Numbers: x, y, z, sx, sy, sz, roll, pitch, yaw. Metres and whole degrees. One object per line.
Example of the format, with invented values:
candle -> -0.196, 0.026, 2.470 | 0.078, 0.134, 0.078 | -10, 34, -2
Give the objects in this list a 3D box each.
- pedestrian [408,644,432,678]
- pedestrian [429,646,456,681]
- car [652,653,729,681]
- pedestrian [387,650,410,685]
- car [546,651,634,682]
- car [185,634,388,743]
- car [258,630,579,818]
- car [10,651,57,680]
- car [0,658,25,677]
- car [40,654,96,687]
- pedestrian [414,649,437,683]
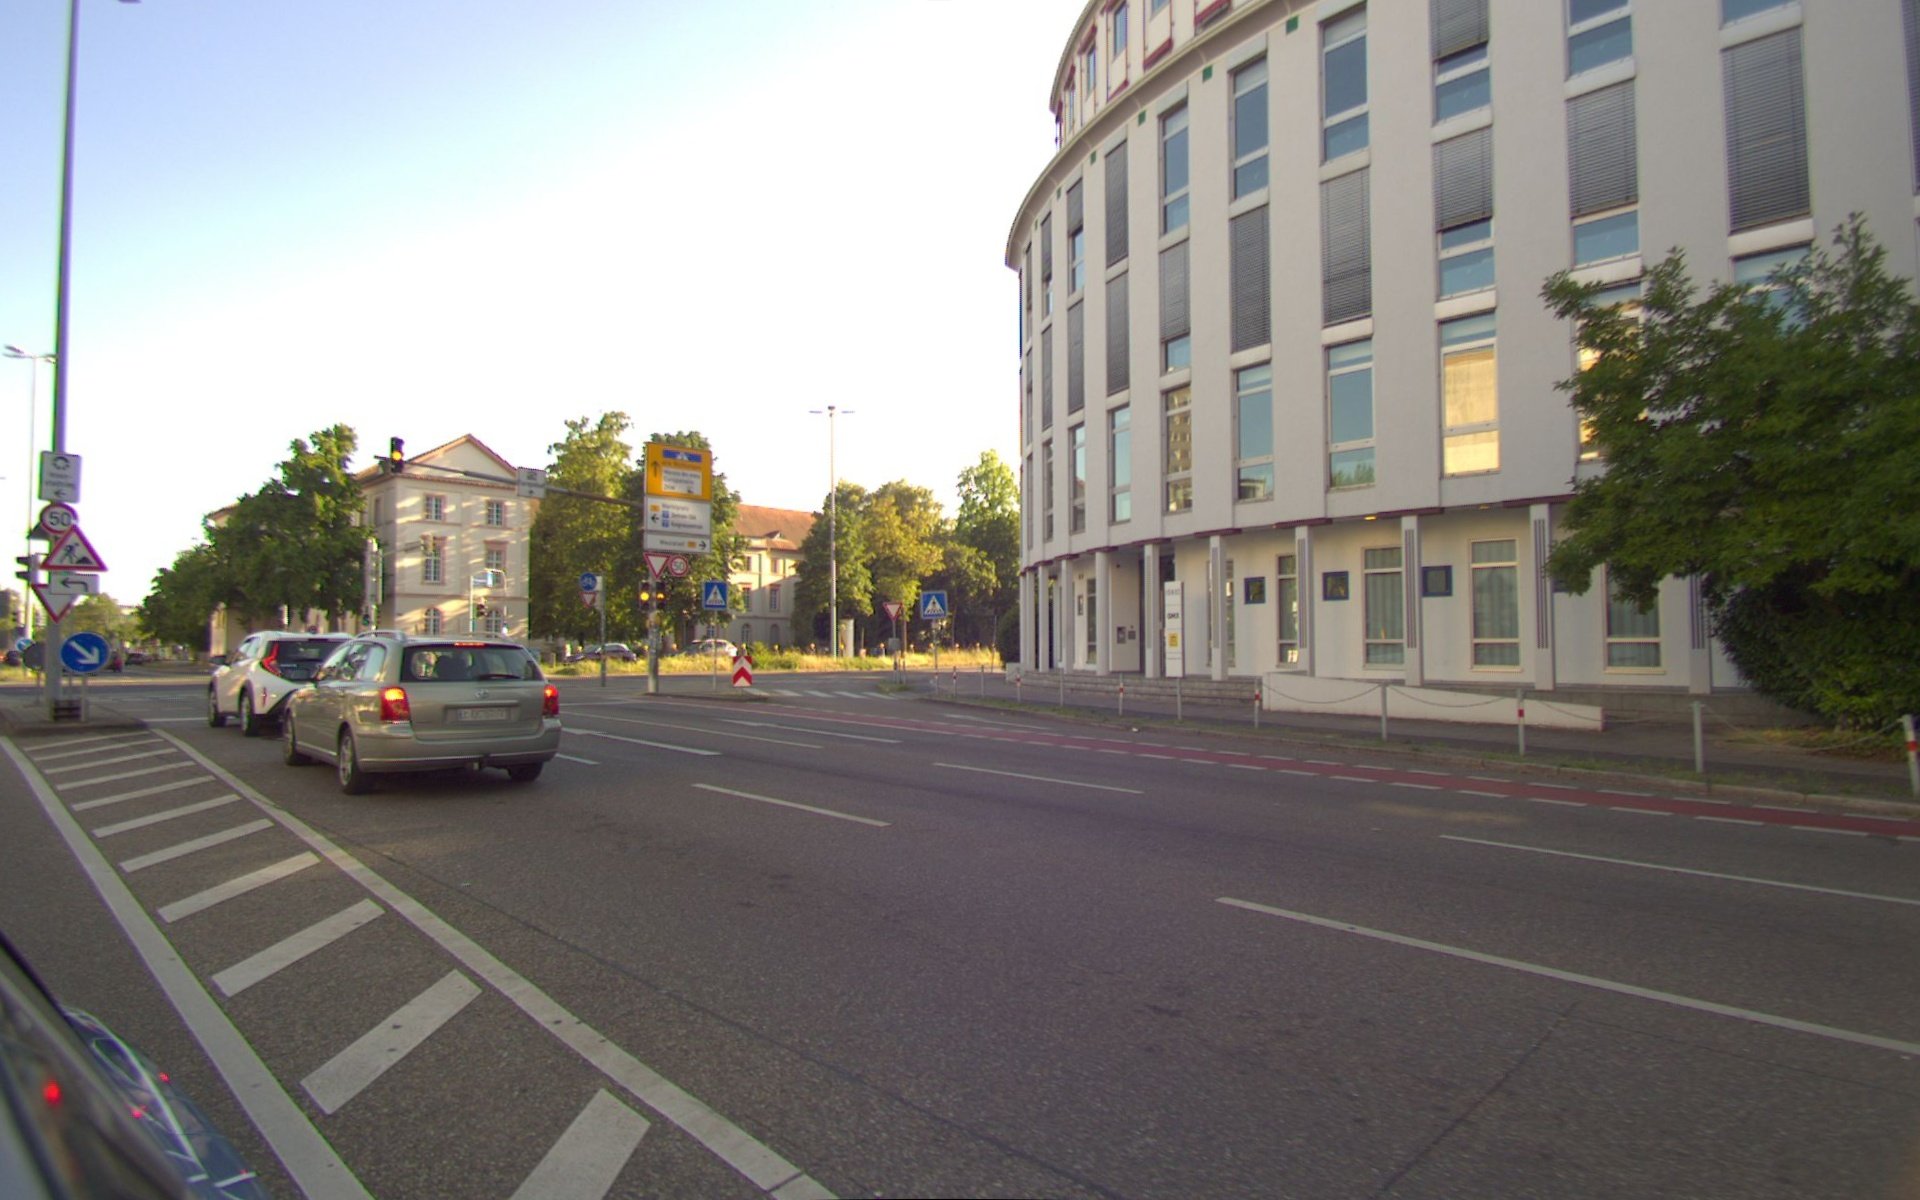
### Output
pedestrian -> -28.093, 3.185, 52.646 | 1.082, 1.721, 0.670 | -3, -4, 36
pedestrian -> -27.380, 3.359, 53.510 | 1.167, 1.863, 0.811 | -3, -4, 36
car -> -14.774, 3.662, 55.554 | 1.998, 1.457, 3.598 | -3, -4, 40
pedestrian -> -26.965, 3.255, 48.637 | 0.888, 1.663, 0.614 | -3, -4, 36
car -> -18.422, 3.300, 50.501 | 1.998, 1.457, 3.598 | -3, -4, 40
car -> -10.497, 1.314, 15.679 | 3.903, 1.472, 1.807 | -4, -5, 44
car -> -5.796, 1.143, 10.537 | 1.806, 1.526, 4.608 | 3, -4, -43
car -> -61.802, 4.360, 67.481 | 4.946, 1.861, 1.808 | -3, -4, 42
car -> -75.254, 5.306, 79.845 | 4.292, 1.474, 1.741 | -3, -4, 42
car -> -48.336, 3.814, 54.807 | 4.441, 1.719, 1.807 | -4, -4, 43
pedestrian -> -26.276, 3.239, 49.771 | 0.881, 1.663, 0.670 | -3, -4, 35
